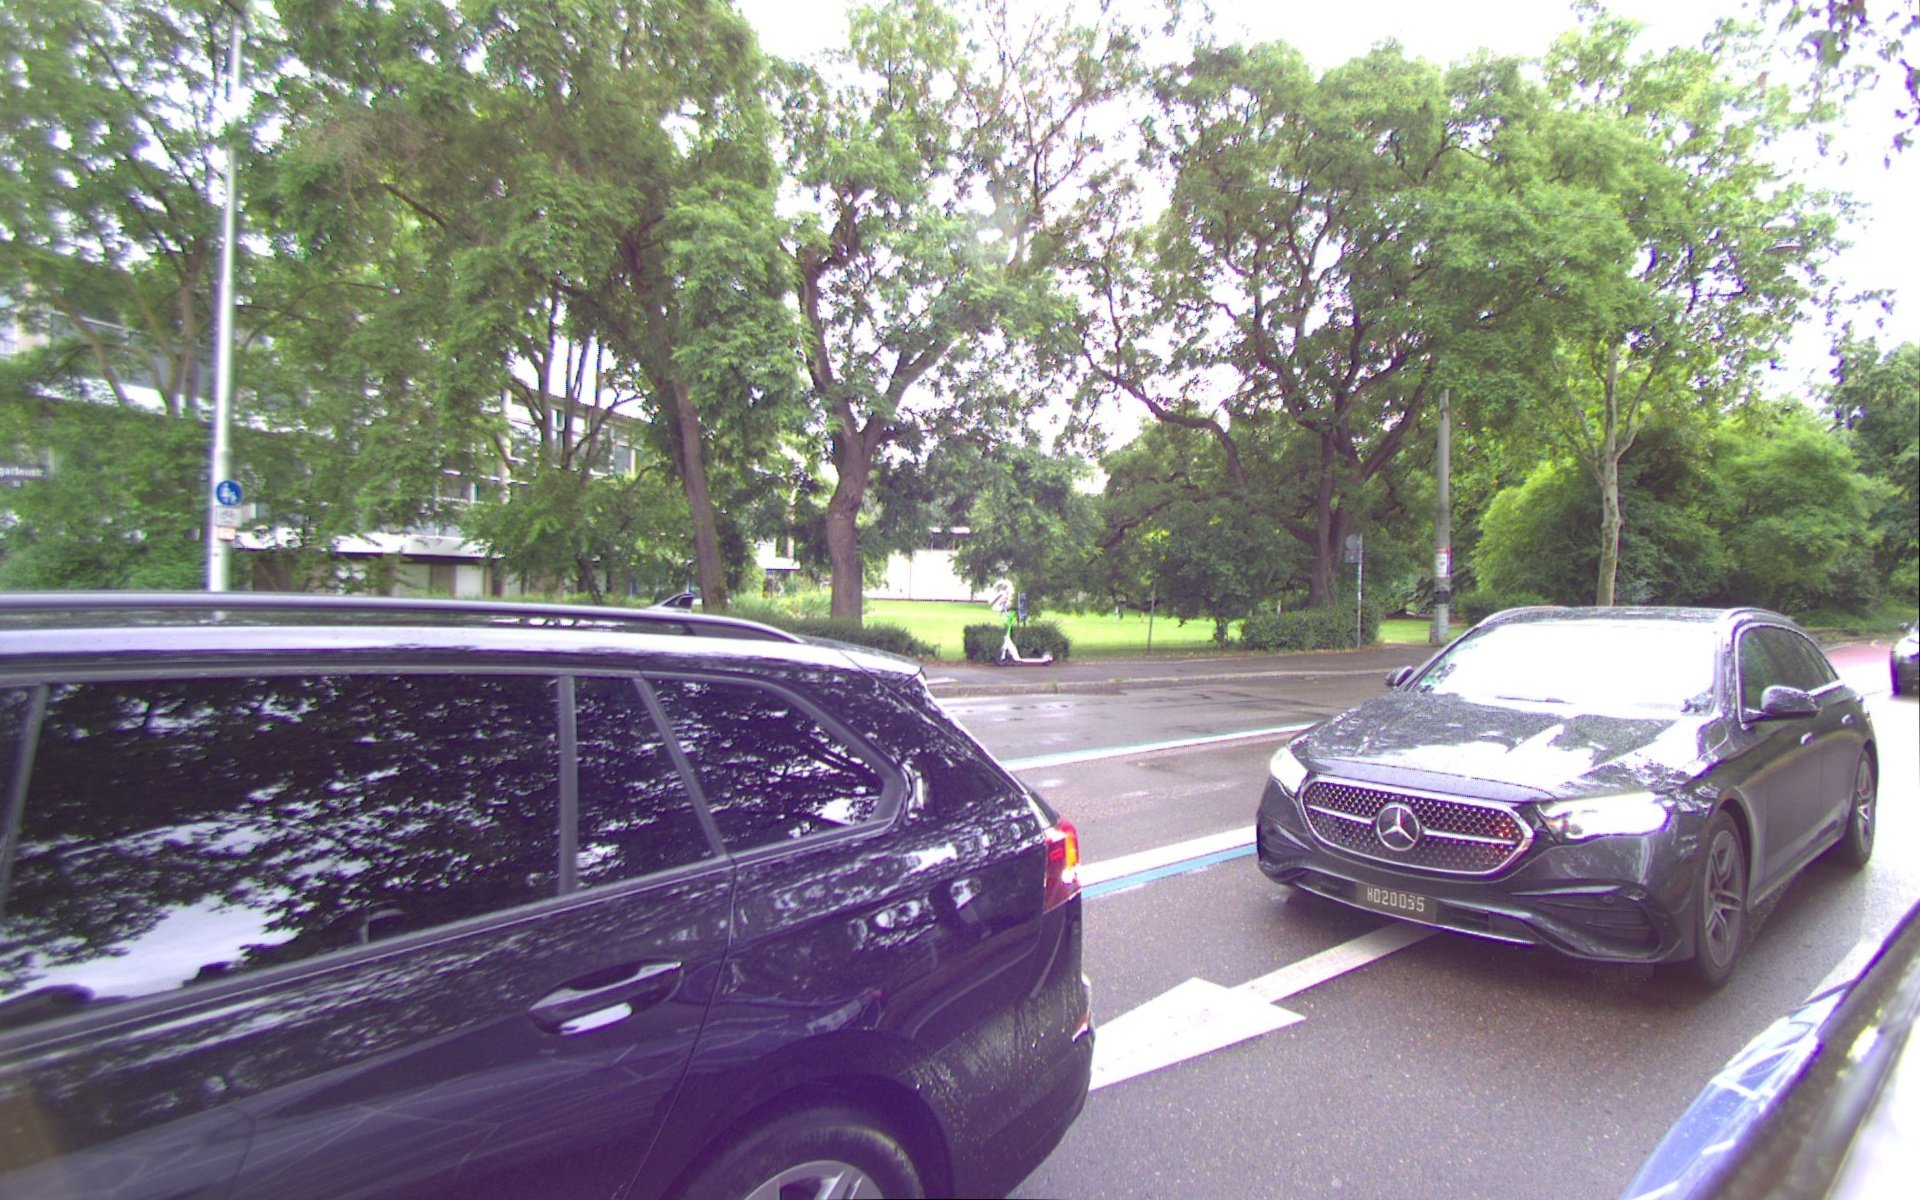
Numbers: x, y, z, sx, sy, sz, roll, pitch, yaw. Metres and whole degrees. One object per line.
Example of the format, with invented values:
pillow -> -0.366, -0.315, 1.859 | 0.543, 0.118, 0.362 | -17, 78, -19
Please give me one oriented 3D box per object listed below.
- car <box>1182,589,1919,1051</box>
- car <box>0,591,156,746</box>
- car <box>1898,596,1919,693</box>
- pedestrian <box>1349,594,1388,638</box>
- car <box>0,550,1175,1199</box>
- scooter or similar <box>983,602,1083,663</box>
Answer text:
car -> 3.502, 0.705, 5.478 | 4.841, 1.464, 1.884 | 0, -1, -39
car -> -10.931, 0.635, 9.975 | 4.311, 1.468, 1.872 | 0, 0, -19
car -> 18.252, 0.742, 17.819 | 4.493, 1.628, 1.833 | 0, 0, -38
pedestrian -> 15.570, 0.615, 38.609 | 1.038, 1.626, 1.071 | -1, 0, 1
car -> -1.721, 0.677, 1.442 | 4.434, 1.484, 1.672 | 1, 0, -42
scooter or similar -> 1.444, 0.644, 19.980 | 1.851, 1.114, 0.559 | 2, 2, -19
